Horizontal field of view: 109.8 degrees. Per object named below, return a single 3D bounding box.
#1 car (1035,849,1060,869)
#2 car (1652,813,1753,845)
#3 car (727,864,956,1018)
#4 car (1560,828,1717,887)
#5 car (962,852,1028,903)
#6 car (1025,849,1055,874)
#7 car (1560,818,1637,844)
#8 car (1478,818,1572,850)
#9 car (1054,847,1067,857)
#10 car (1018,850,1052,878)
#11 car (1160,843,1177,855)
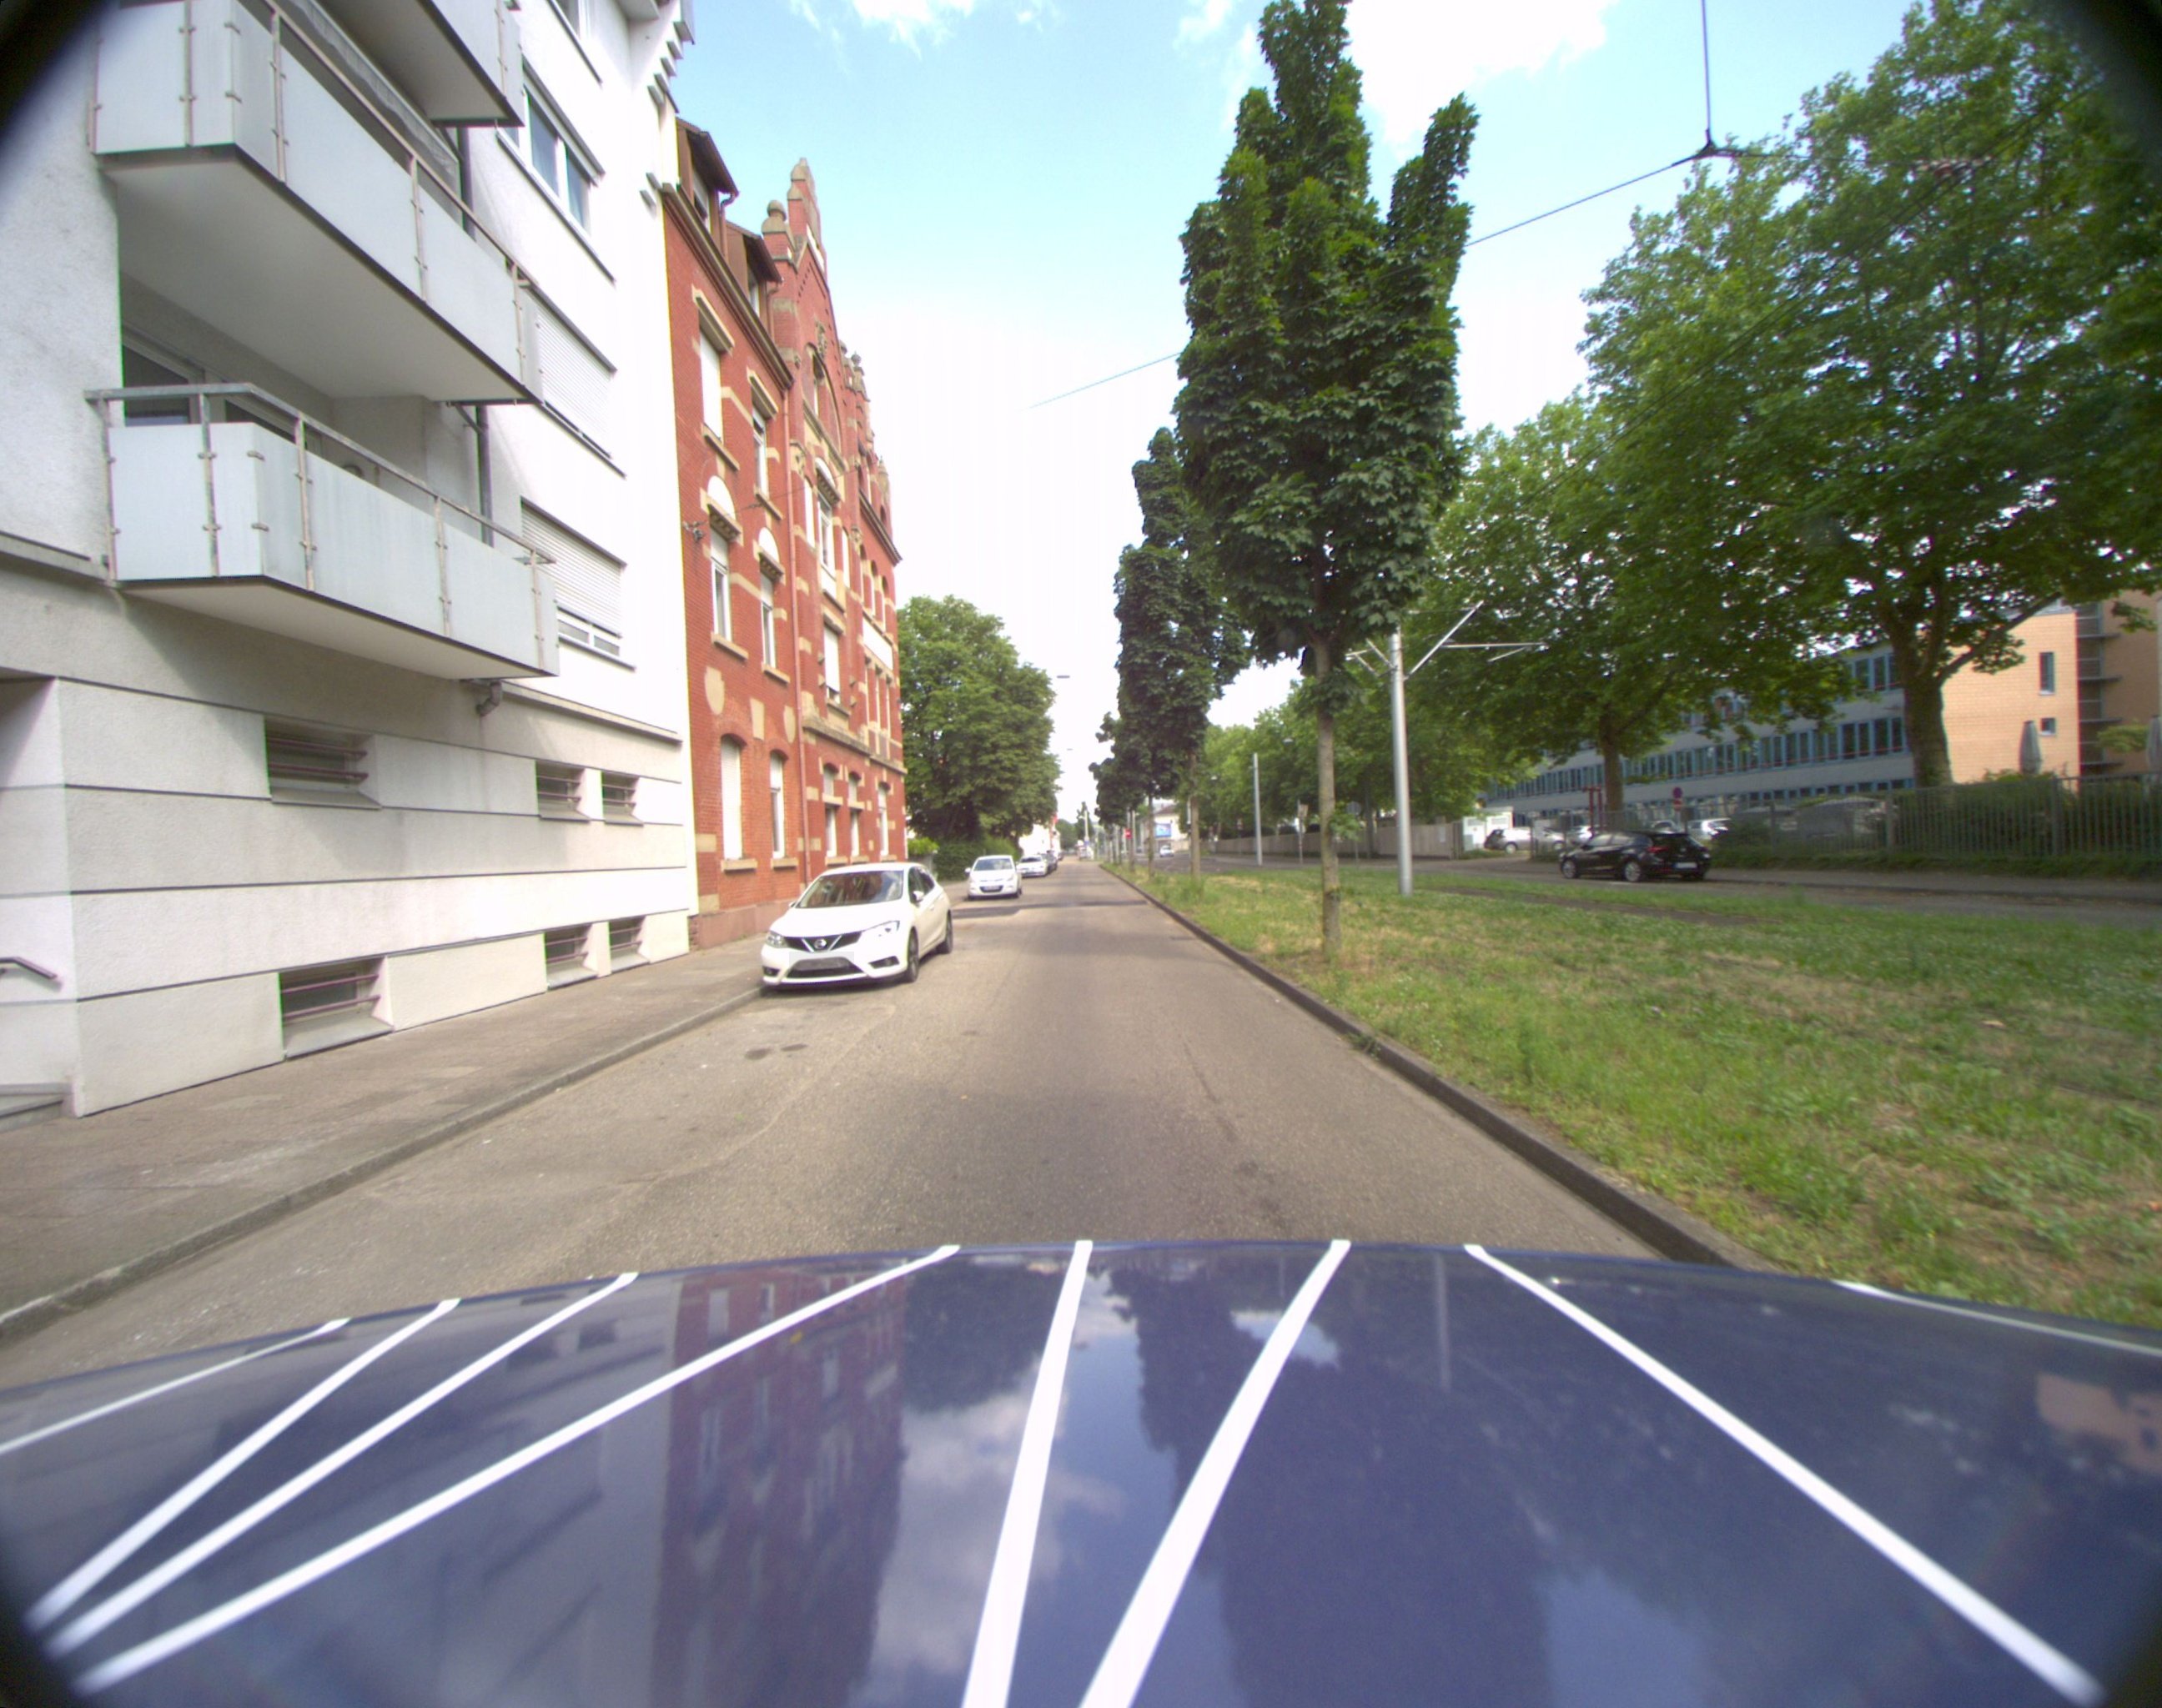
[{"bbox_3d":[-2.853,0.396,65.424,1.801,1.521,4.040,-5,1,0],"label":"car"},{"bbox_3d":[34.719,-1.377,42.513,3.997,1.609,1.999,-2,1,-1],"label":"car"},{"bbox_3d":[-2.997,0.999,10.491,1.801,1.521,4.040,-3,1,0],"label":"car"},{"bbox_3d":[15.657,0.064,21.634,1.601,1.455,4.000,-3,1,2],"label":"car"},{"bbox_3d":[-2.941,0.778,26.846,1.801,1.521,4.040,-4,1,0],"label":"car"},{"bbox_3d":[-2.925,0.500,54.552,1.801,1.521,4.040,-5,1,0],"label":"car"},{"bbox_3d":[35.606,-1.559,52.338,3.997,1.609,1.999,-2,1,-1],"label":"car"},{"bbox_3d":[24.324,-1.075,41.734,3.997,1.609,1.999,-2,1,-1],"label":"car"},{"bbox_3d":[-3.333,-0.315,123.672,1.801,1.521,4.040,-5,1,0],"label":"car"},{"bbox_3d":[-2.860,0.598,48.349,1.801,1.521,4.040,-5,1,0],"label":"car"},{"bbox_3d":[12.206,-0.731,106.659,1.801,1.521,4.040,-4,1,0],"label":"car"}]
